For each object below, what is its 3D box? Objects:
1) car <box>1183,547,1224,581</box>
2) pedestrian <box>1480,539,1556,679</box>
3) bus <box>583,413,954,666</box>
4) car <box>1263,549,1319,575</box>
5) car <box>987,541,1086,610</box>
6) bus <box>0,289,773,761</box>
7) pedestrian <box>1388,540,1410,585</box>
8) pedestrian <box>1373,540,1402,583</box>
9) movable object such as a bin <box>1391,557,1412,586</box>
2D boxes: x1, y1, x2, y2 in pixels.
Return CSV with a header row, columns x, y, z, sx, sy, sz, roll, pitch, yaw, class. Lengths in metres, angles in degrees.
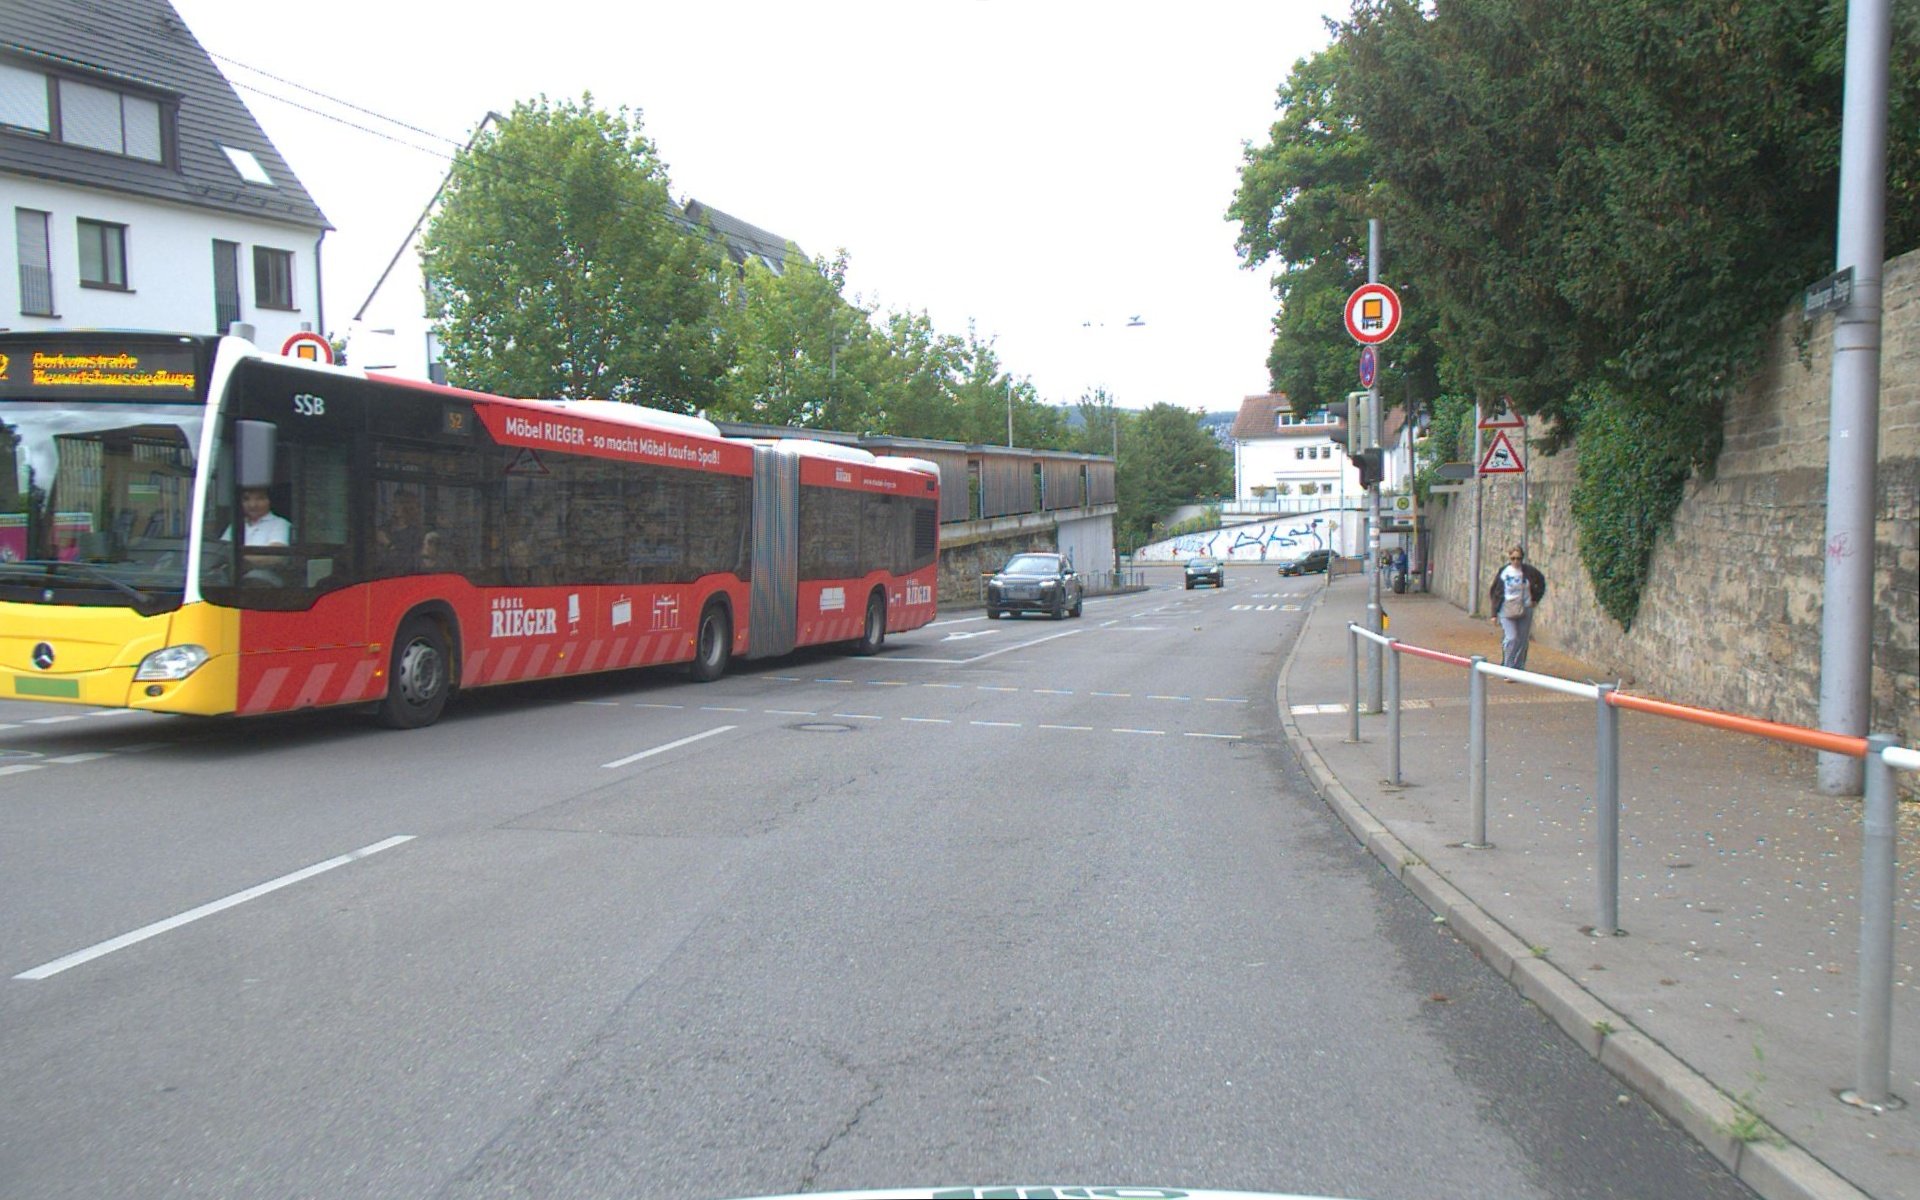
x,y,z,sx,sy,sz,roll,pitch,yaw,class
13.289,-1.983,90.092,1.853,1.787,4.441,-1,1,13,car
6.595,0.094,19.576,0.715,1.603,0.744,-2,1,10,pedestrian
-2.514,-0.908,25.171,2.601,3.175,8.299,2,2,16,bus
20.527,-2.354,102.486,1.708,1.559,3.979,0,1,40,car
2.047,-0.653,43.069,1.881,1.658,4.527,2,1,11,car
-4.986,-0.668,16.322,2.601,3.175,10.027,2,2,16,bus
16.237,-1.391,61.176,0.705,1.671,0.631,-1,1,9,pedestrian
16.427,-1.477,63.552,0.765,1.615,0.728,-4,2,-35,pedestrian
16.140,-1.059,60.502,0.660,1.037,0.627,-1,2,8,movable object such as a bin
